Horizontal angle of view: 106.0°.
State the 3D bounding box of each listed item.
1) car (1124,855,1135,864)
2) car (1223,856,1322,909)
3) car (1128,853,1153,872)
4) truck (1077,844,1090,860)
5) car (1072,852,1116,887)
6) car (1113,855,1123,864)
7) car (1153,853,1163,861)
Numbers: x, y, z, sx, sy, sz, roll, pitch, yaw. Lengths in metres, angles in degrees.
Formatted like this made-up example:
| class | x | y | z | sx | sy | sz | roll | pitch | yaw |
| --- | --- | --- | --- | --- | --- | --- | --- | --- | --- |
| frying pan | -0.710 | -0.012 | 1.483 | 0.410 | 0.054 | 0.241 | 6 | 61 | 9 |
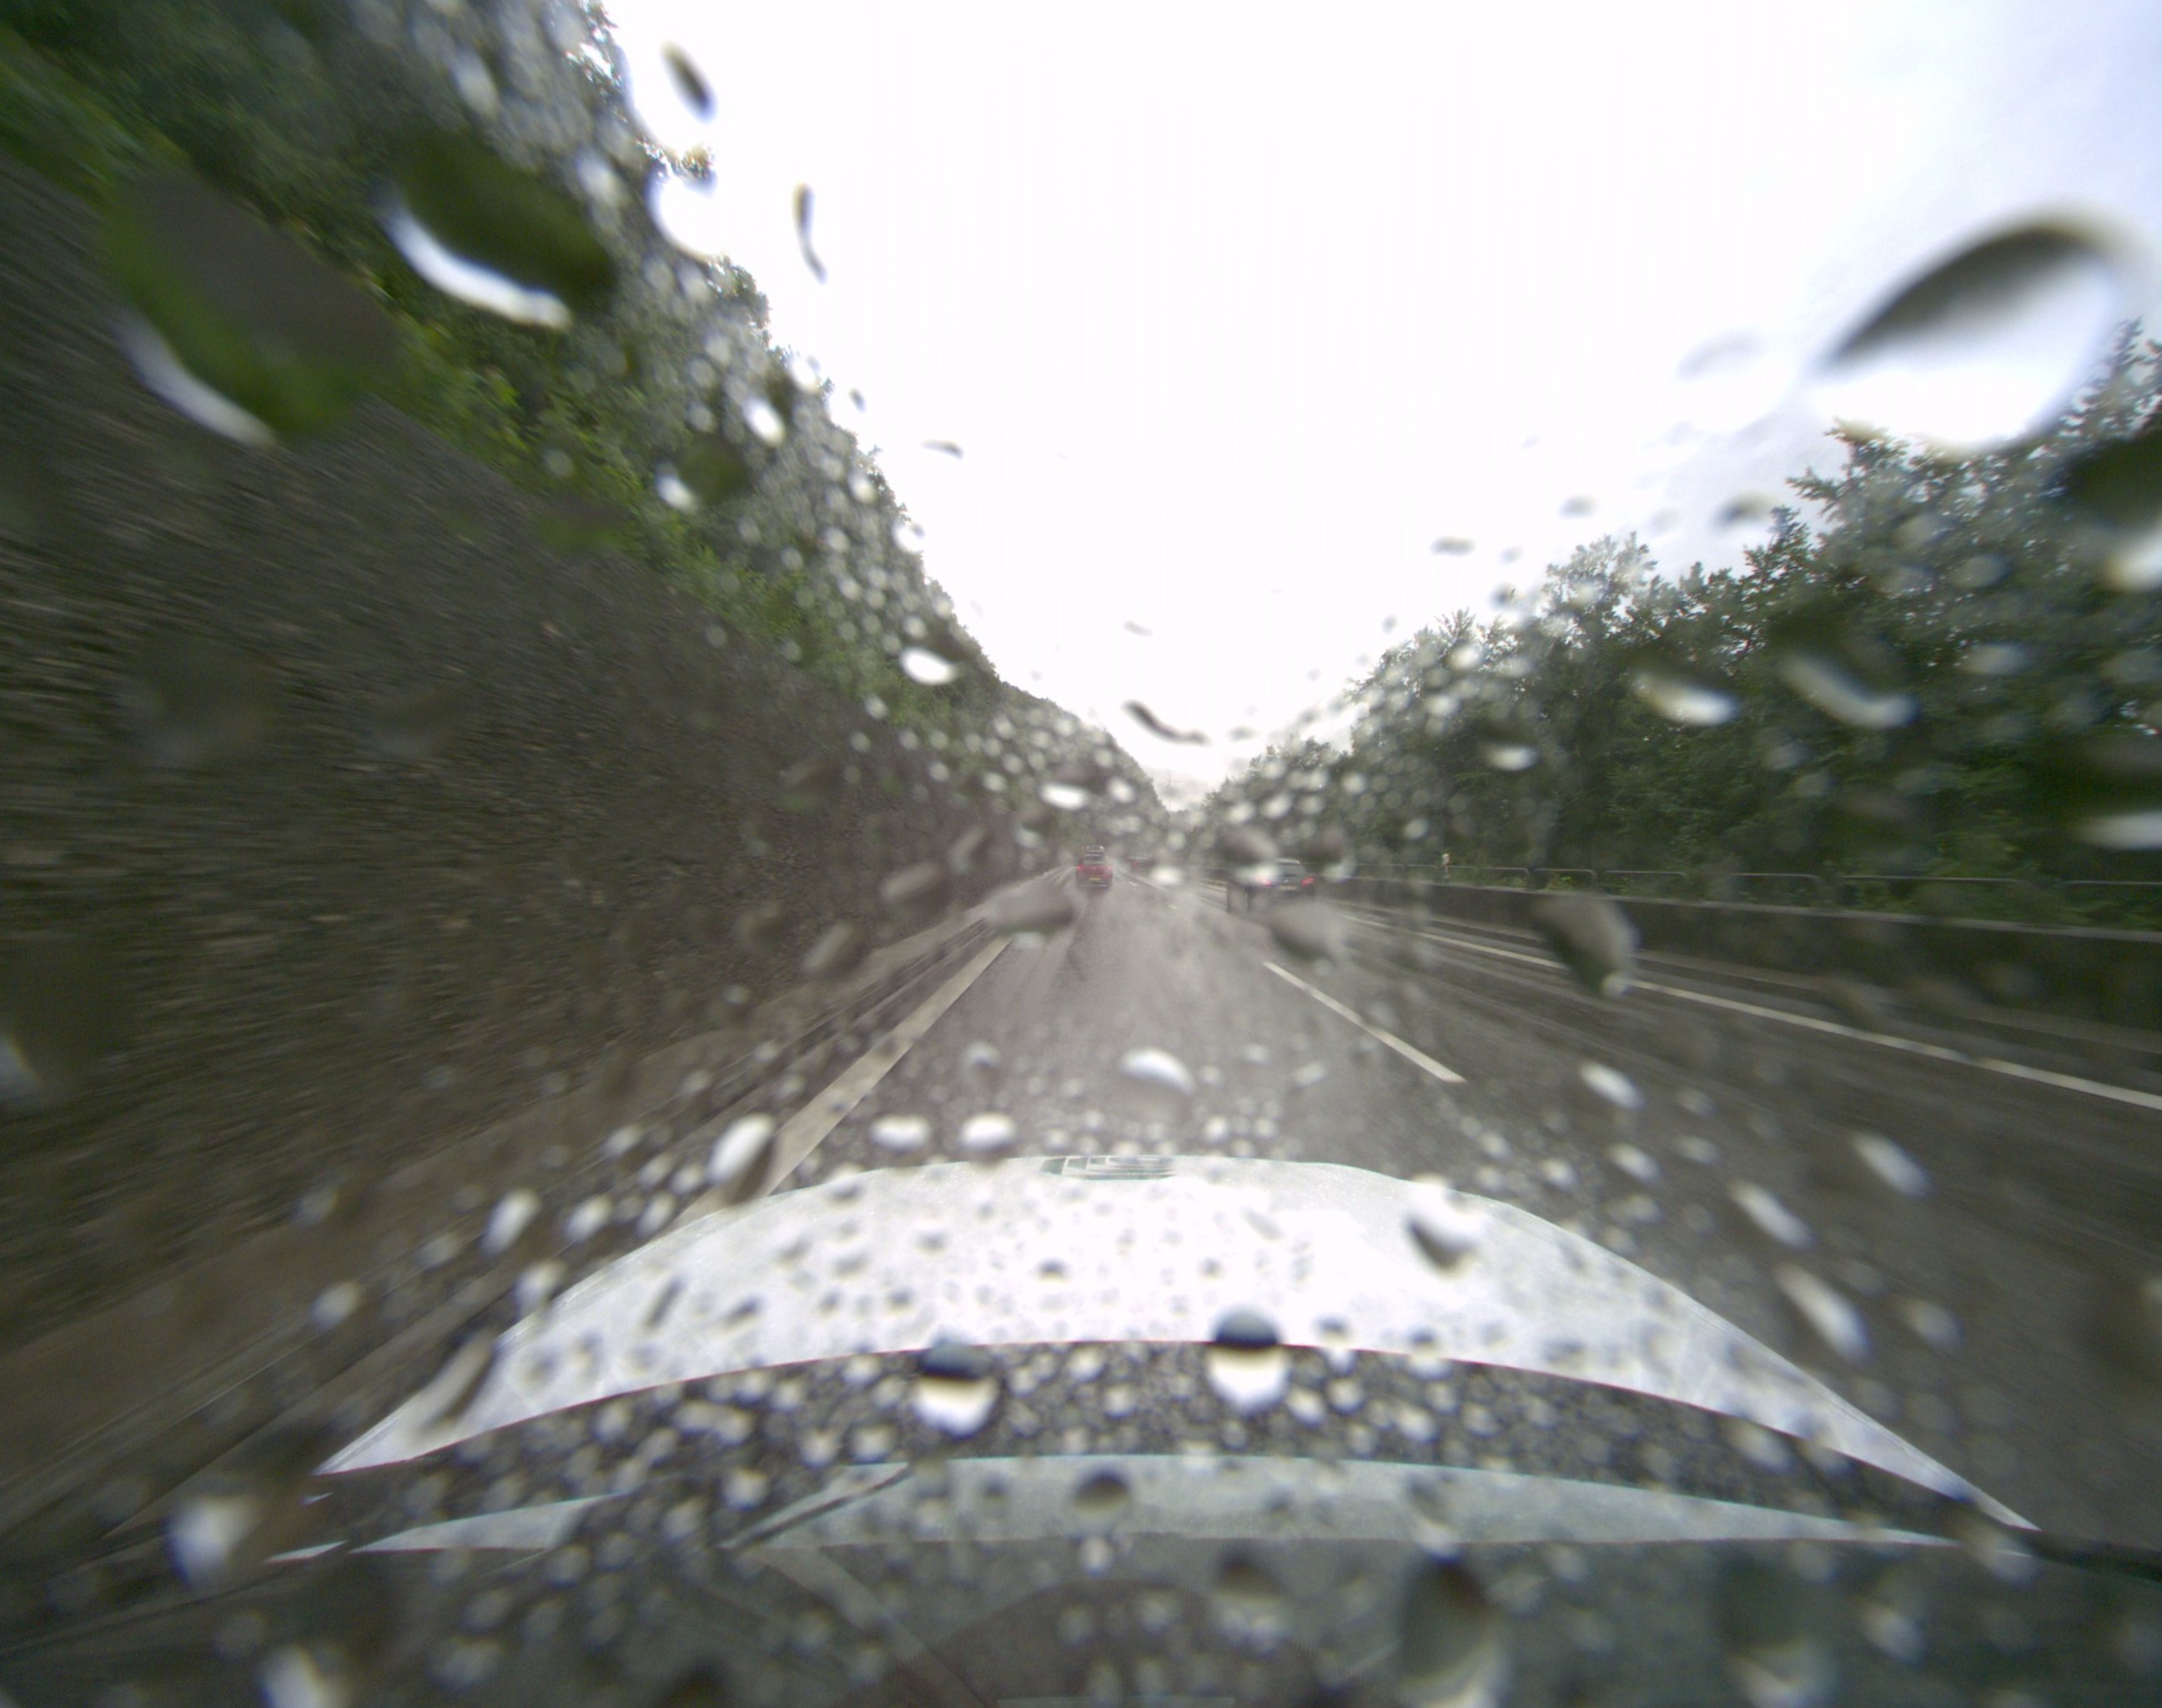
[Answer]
| class | x | y | z | sx | sy | sz | roll | pitch | yaw |
| --- | --- | --- | --- | --- | --- | --- | --- | --- | --- |
| car | 8.866 | 1.078 | 148.914 | 1.986 | 1.577 | 4.002 | -1 | 0 | 2 |
| car | 5.207 | 0.729 | 22.625 | 1.794 | 1.307 | 3.999 | -1 | 0 | 0 |
| car | 5.156 | 0.707 | 70.927 | 1.986 | 1.552 | 4.002 | -1 | 0 | 2 |
| truck | 0.427 | -0.318 | 139.409 | 1.987 | 2.751 | 5.586 | -1 | 0 | 0 |
| car | 0.619 | 0.748 | 38.961 | 1.987 | 1.552 | 4.000 | -2 | -1 | 1 |
| car | 7.215 | 1.069 | 159.935 | 1.986 | 1.749 | 4.002 | -1 | 0 | 2 |
| car | 19.863 | 0.747 | 210.955 | 2.439 | 2.013 | 4.739 | -1 | 0 | 3 |
